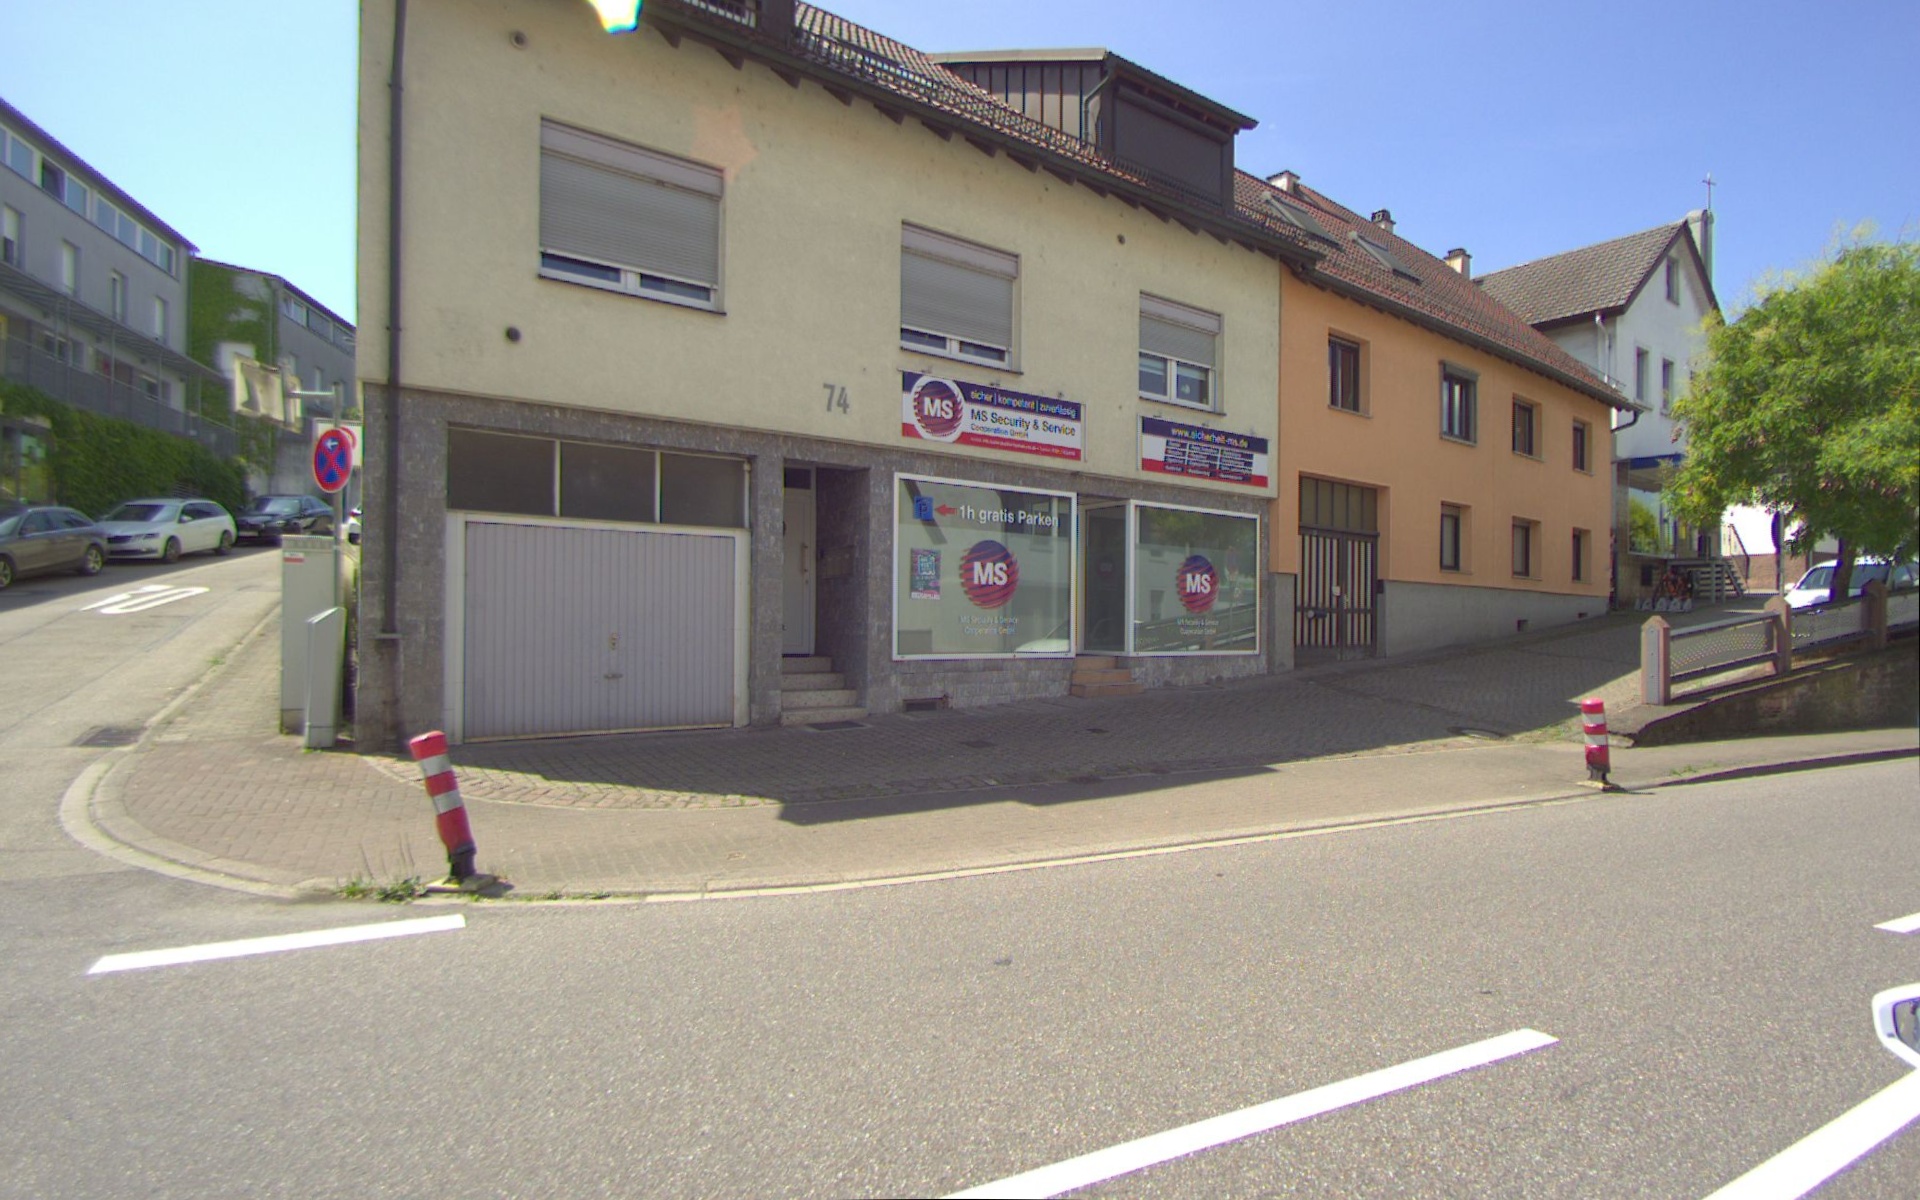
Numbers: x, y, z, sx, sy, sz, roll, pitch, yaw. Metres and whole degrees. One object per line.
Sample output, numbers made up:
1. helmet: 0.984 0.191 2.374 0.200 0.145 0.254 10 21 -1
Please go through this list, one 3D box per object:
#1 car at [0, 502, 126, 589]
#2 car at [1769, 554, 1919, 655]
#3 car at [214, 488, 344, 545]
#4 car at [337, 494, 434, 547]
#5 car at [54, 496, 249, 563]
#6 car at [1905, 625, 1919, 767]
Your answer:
1. car: -18.379 -1.100 19.321 1.728 1.441 4.491 1 6 -14
2. car: 17.355 0.021 19.269 3.812 1.564 1.684 -6 3 -32
3. car: -21.107 -2.664 31.375 1.858 1.582 4.491 1 6 -14
4. car: -19.068 -2.699 33.500 1.783 1.487 3.986 3 6 -15
5. car: -19.841 -1.814 24.955 1.966 1.441 4.491 1 6 -14
6. car: 13.117 1.101 11.690 4.391 1.601 1.835 1 -2 -29
